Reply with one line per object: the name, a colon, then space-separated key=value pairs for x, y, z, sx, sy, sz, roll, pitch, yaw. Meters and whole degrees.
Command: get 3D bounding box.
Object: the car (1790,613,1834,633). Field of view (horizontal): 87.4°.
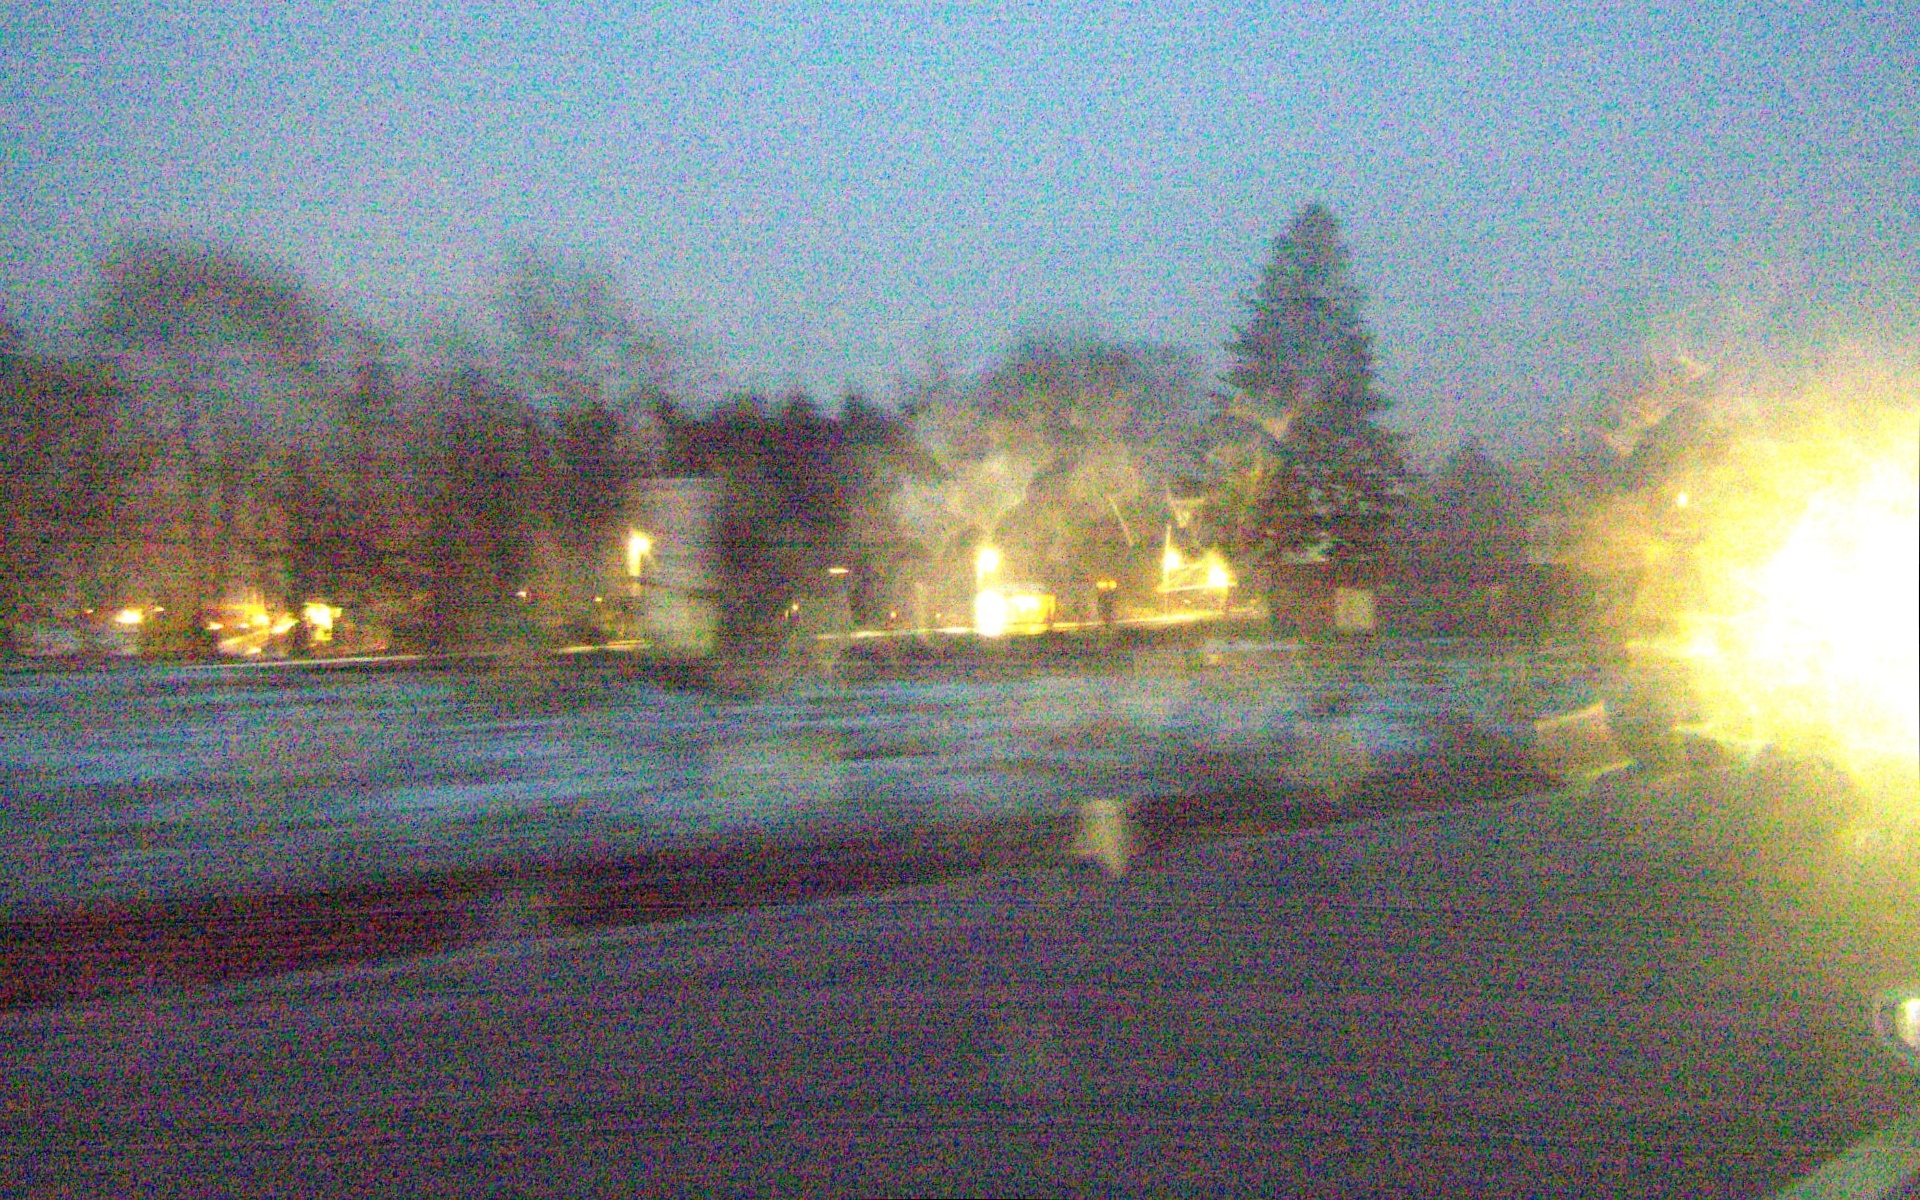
car: x=66.035 y=1.788 z=77.816 sx=4.109 sy=1.416 sz=1.677 roll=-1 pitch=-1 yaw=-36
